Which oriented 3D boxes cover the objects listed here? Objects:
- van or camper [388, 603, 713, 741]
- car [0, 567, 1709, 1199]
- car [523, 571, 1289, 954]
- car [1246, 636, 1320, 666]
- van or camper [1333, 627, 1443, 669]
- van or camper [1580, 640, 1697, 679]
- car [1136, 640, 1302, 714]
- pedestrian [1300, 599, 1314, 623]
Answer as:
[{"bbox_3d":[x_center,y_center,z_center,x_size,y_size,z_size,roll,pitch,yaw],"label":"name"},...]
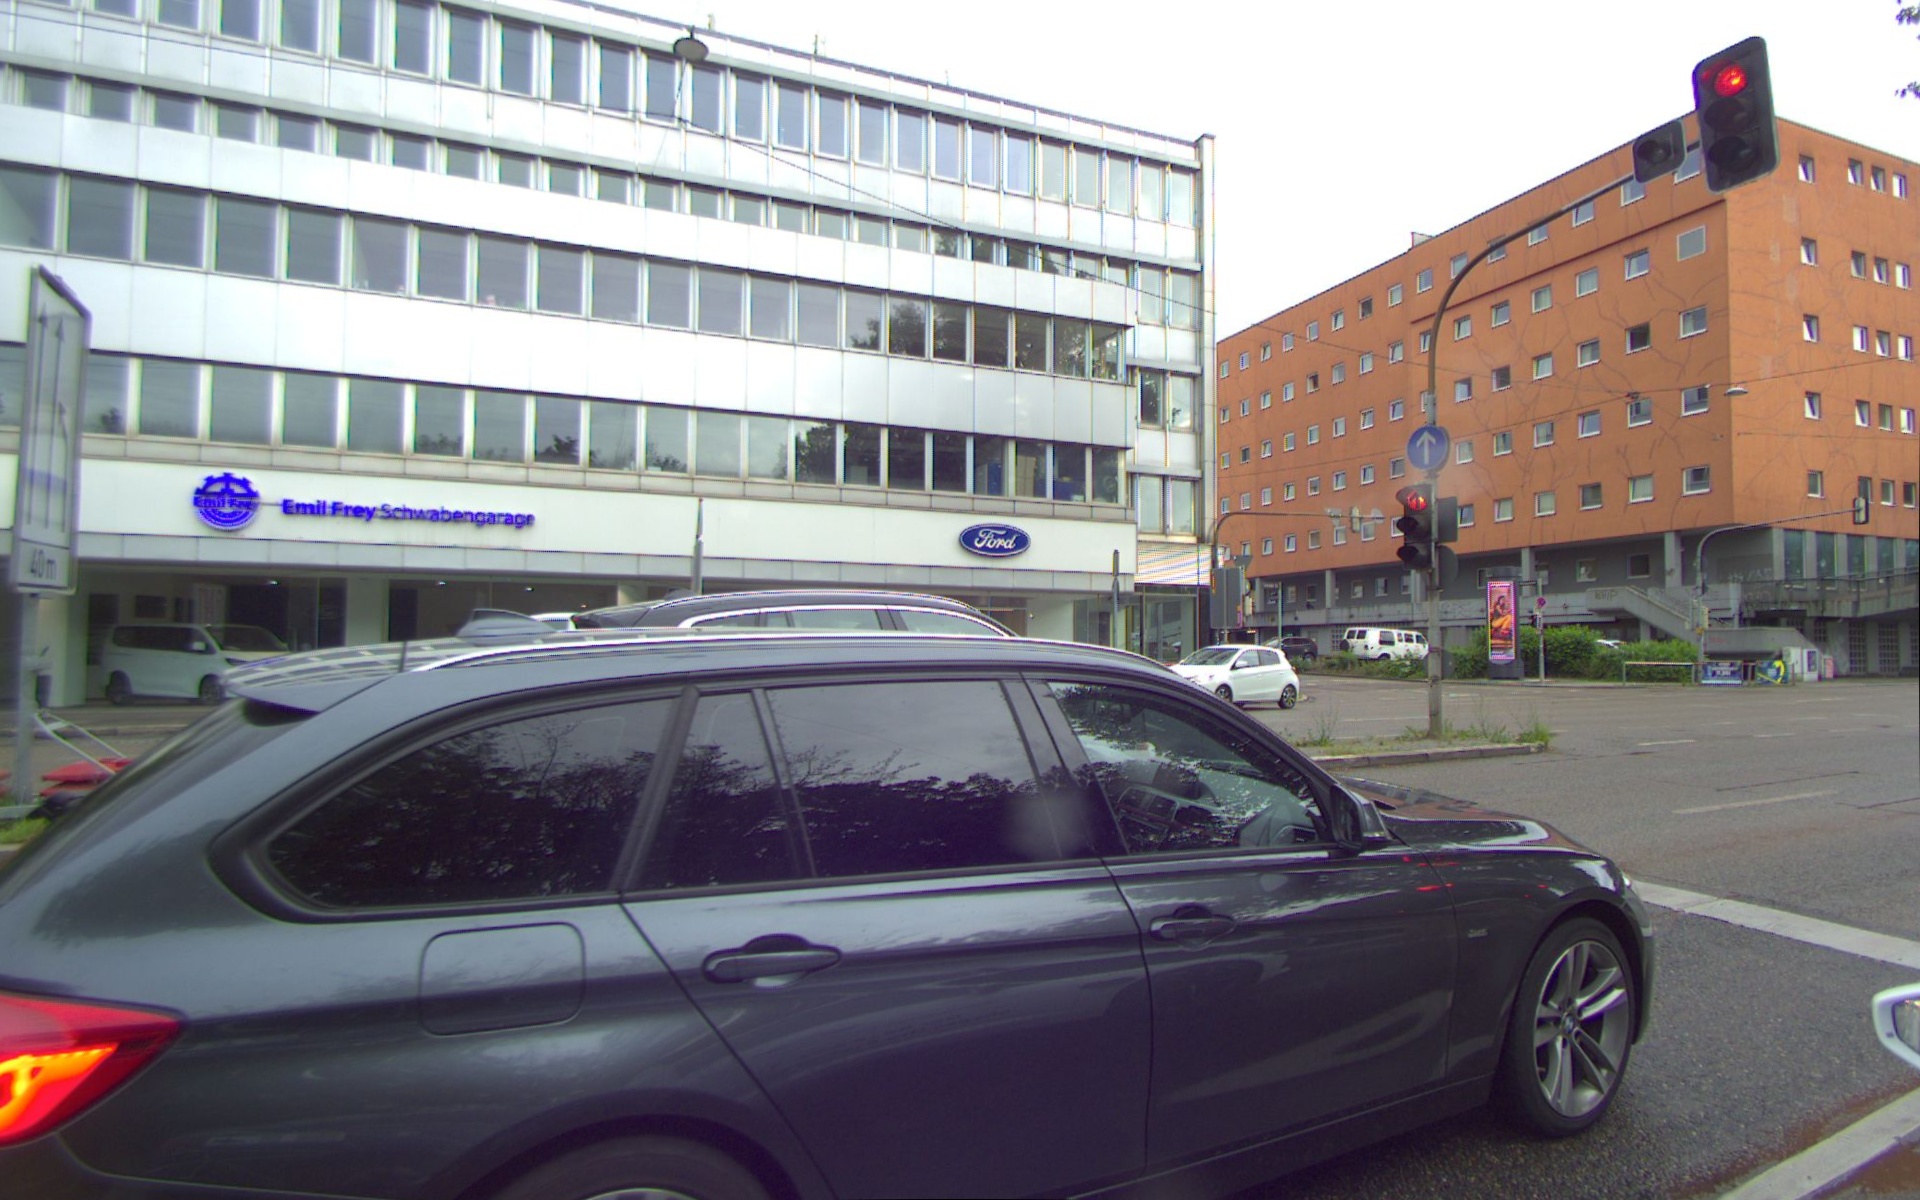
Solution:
[{"bbox_3d":[-6.561,1.115,16.251,4.630,1.949,1.927,2,-2,-30],"label":"van or camper"},{"bbox_3d":[0.002,0.779,2.845,4.424,1.477,1.769,2,-3,-30],"label":"car"},{"bbox_3d":[-0.245,0.766,6.233,4.389,1.678,1.802,2,0,-28],"label":"car"},{"bbox_3d":[18.981,2.991,59.017,4.027,1.633,1.706,2,0,-23],"label":"car"},{"bbox_3d":[22.305,2.512,52.355,5.376,2.004,2.121,2,0,-23],"label":"van or camper"},{"bbox_3d":[30.448,2.656,45.184,1.887,1.648,3.978,1,-2,-23],"label":"van or camper"},{"bbox_3d":[5.970,1.741,23.045,3.733,1.551,1.787,2,-6,-40],"label":"car"},{"bbox_3d":[27.521,0.886,79.626,0.714,1.864,0.761,2,0,-21],"label":"pedestrian"}]
